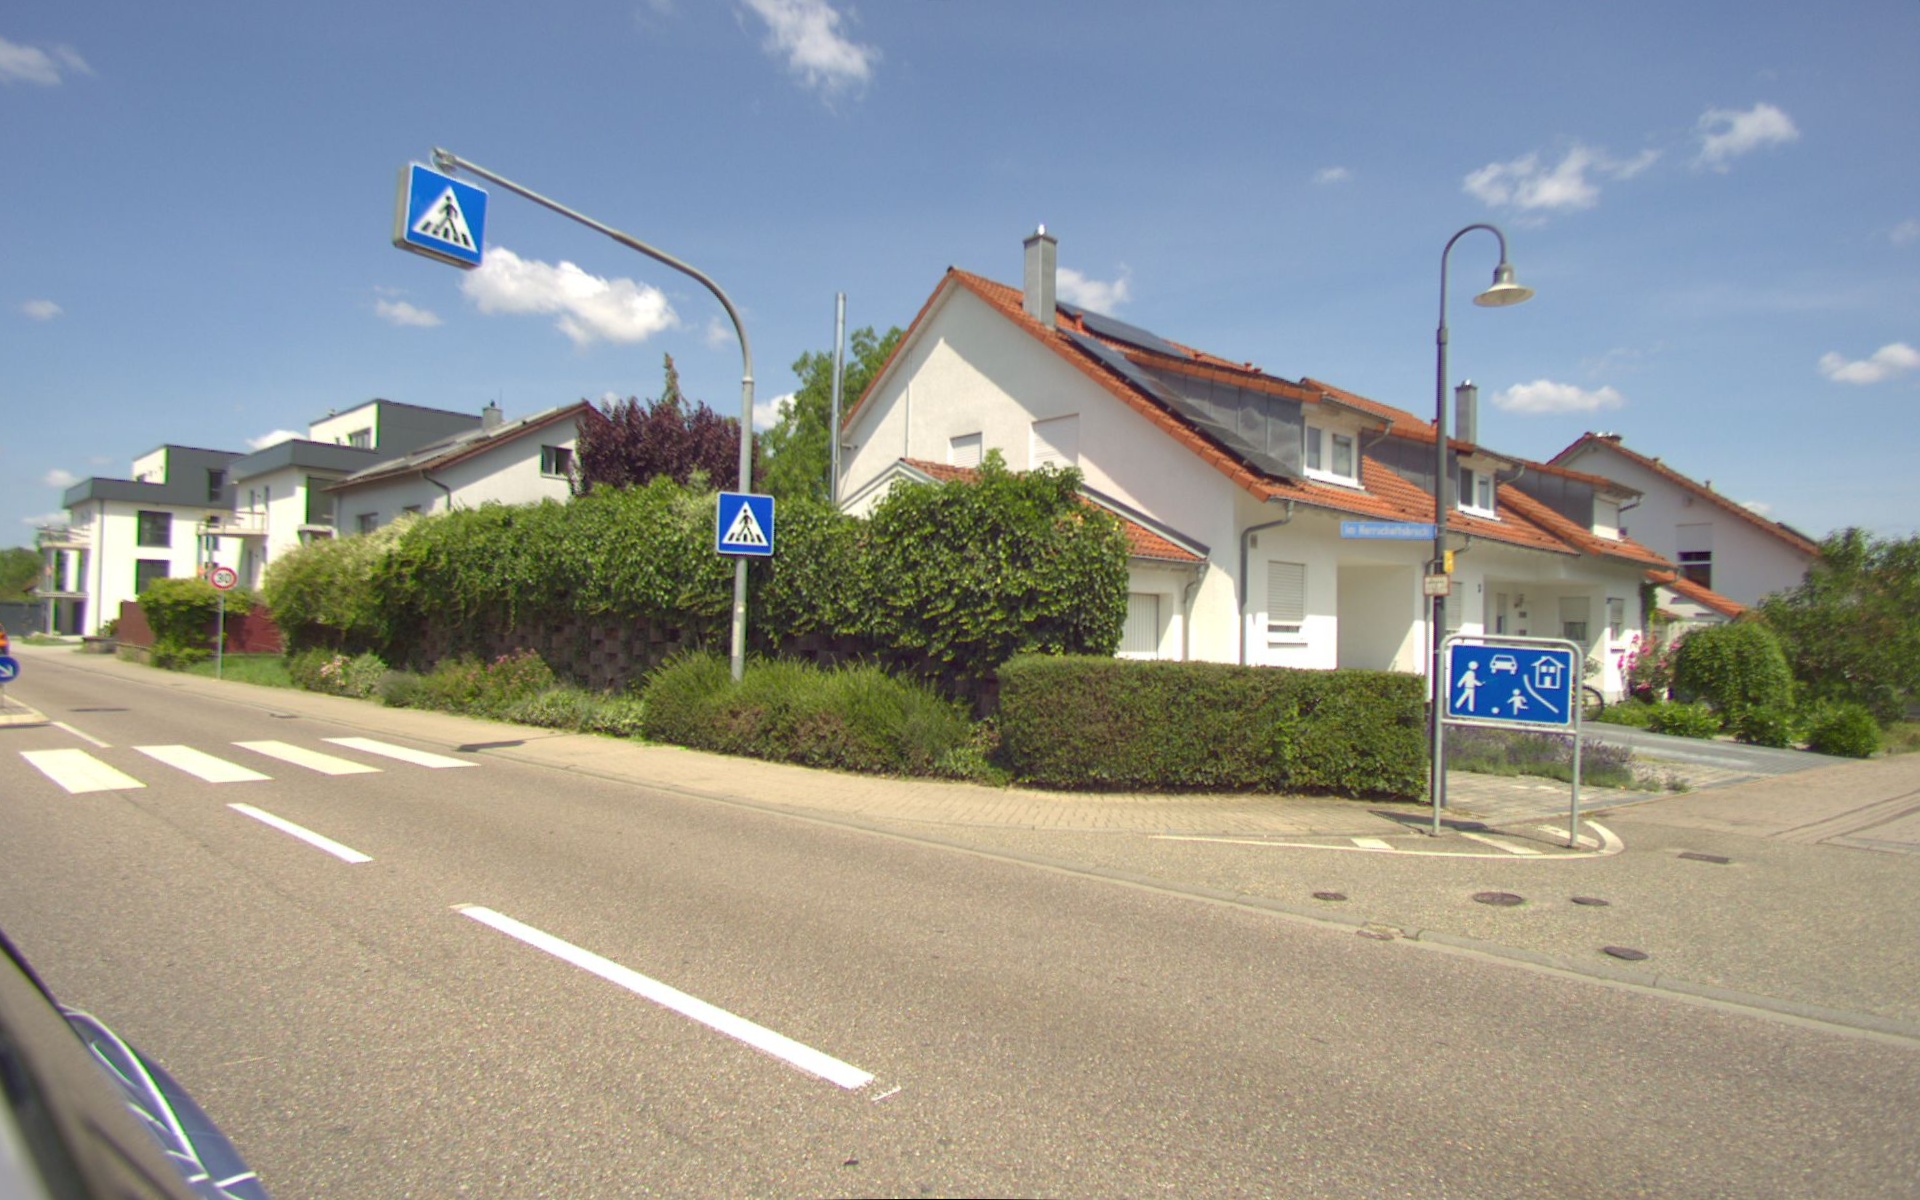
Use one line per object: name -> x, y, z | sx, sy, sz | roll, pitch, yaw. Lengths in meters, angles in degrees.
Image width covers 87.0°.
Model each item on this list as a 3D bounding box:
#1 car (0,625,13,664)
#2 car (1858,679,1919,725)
car -> -39.399, 1.733, 40.498 | 3.612, 1.500, 1.776 | -1, -4, 41
car -> 26.822, 2.811, 27.678 | 1.480, 1.194, 3.281 | 4, -4, -44
